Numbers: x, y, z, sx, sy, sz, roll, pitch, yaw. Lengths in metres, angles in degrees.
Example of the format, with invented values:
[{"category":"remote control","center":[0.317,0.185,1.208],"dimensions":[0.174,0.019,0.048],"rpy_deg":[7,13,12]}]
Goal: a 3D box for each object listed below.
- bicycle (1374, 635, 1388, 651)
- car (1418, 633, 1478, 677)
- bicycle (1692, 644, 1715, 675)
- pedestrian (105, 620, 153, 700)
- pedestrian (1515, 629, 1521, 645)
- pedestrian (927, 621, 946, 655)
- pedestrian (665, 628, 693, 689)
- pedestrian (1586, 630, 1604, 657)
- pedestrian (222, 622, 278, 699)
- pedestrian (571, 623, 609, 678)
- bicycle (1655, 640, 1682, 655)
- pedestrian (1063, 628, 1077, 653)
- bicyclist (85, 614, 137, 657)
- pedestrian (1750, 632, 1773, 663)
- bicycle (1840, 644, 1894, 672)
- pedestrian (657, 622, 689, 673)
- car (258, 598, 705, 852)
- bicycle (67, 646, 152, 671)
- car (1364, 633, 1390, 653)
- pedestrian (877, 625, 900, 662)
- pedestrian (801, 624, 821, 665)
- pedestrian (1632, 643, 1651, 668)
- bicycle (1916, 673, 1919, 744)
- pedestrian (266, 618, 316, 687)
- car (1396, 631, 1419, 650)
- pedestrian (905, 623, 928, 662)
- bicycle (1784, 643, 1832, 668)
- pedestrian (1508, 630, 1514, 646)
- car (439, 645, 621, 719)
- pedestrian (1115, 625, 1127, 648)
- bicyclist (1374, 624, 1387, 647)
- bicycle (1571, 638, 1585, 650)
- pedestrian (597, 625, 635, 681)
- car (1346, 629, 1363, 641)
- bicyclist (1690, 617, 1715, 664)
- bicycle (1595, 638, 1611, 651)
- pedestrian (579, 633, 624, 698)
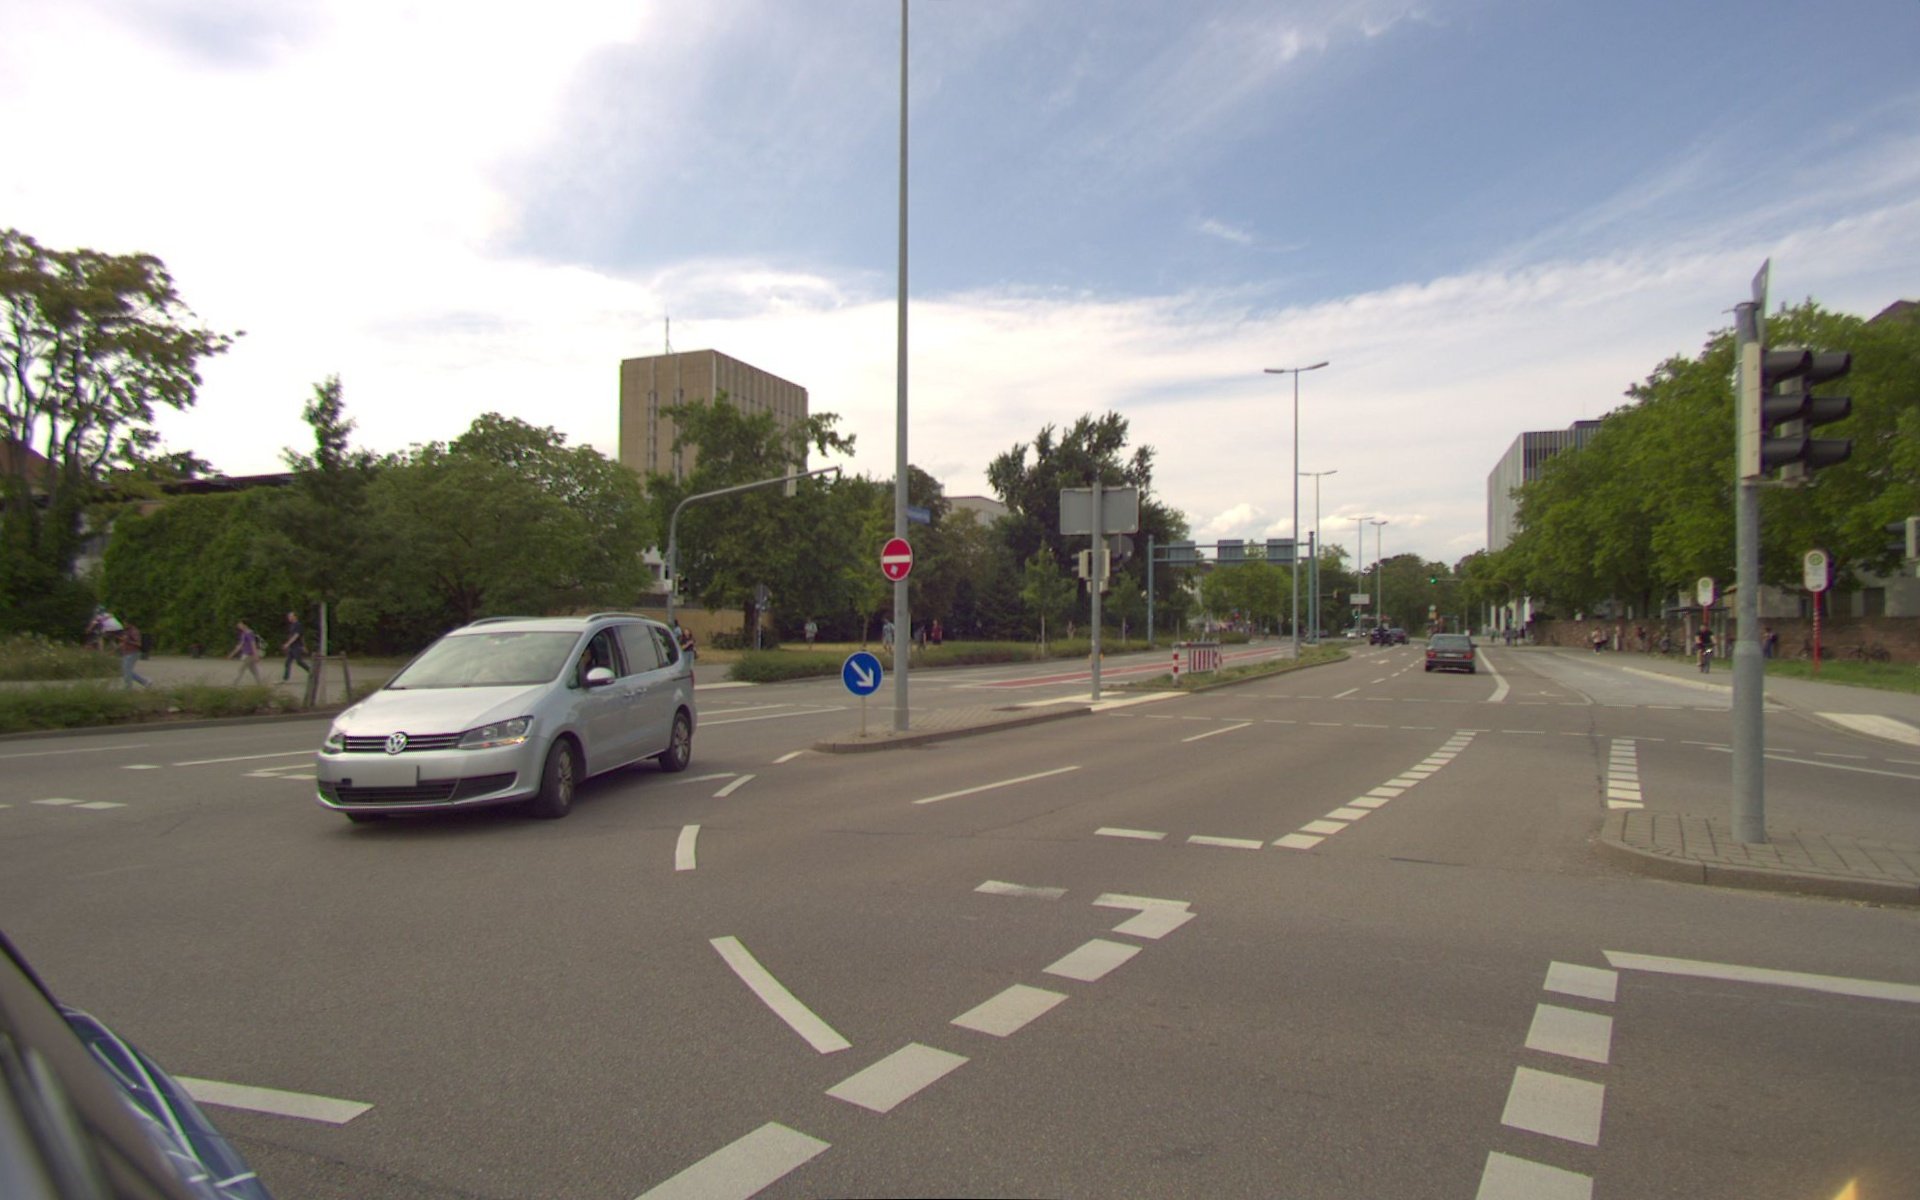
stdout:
[{"category":"bicycle","center":[32.832,3.347,78.911],"dimensions":[0.755,1.198,2.078],"rpy_deg":[1,-2,28]},{"category":"car","center":[18.418,2.038,38.353],"dimensions":[1.689,1.491,4.383],"rpy_deg":[-3,-2,22]},{"category":"bicycle","center":[25.210,2.000,34.300],"dimensions":[0.505,0.943,1.945],"rpy_deg":[-1,0,40]},{"category":"pedestrian","center":[-18.360,1.321,22.374],"dimensions":[0.670,1.724,0.627],"rpy_deg":[-3,-2,30]},{"category":"pedestrian","center":[51.680,3.431,93.701],"dimensions":[0.399,1.468,0.470],"rpy_deg":[-2,-2,21]},{"category":"pedestrian","center":[-1.214,1.964,51.907],"dimensions":[0.711,1.724,0.689],"rpy_deg":[-3,-2,26]},{"category":"pedestrian","center":[-8.074,1.685,29.082],"dimensions":[0.479,1.724,0.581],"rpy_deg":[-3,-3,32]},{"category":"pedestrian","center":[39.805,2.738,63.455],"dimensions":[0.749,1.634,0.661],"rpy_deg":[-3,-2,21]},{"category":"pedestrian","center":[-16.385,1.384,23.359],"dimensions":[0.836,1.724,0.792],"rpy_deg":[-3,-2,30]},{"category":"pedestrian","center":[-11.838,1.616,32.405],"dimensions":[0.831,1.724,0.797],"rpy_deg":[-2,-2,11]},{"category":"bicycle","center":[44.504,3.008,63.587],"dimensions":[0.653,0.894,1.573],"rpy_deg":[-3,-3,6]},{"category":"pedestrian","center":[7.567,2.794,69.715],"dimensions":[0.711,1.724,0.689],"rpy_deg":[-3,-2,26]},{"category":"bicyclist","center":[-25.962,1.092,30.954],"dimensions":[0.837,1.287,1.002],"rpy_deg":[-3,-2,32]},{"category":"pedestrian","center":[42.900,2.544,54.177],"dimensions":[0.561,1.634,0.754],"rpy_deg":[-2,-2,4]},{"category":"bicycle","center":[42.335,2.704,47.273],"dimensions":[0.749,1.198,2.095],"rpy_deg":[2,-2,5]},{"category":"pedestrian","center":[-9.940,1.652,35.095],"dimensions":[0.710,1.724,0.793],"rpy_deg":[-3,-2,23]},{"category":"car","center":[-3.978,0.964,9.422],"dimensions":[1.802,1.747,4.523],"rpy_deg":[-2,-2,4]},{"category":"bicycle","center":[-25.958,1.780,30.918],"dimensions":[0.840,0.699,1.826],"rpy_deg":[-3,-2,30]},{"category":"car","center":[35.571,3.656,86.283],"dimensions":[1.780,1.500,4.093],"rpy_deg":[1,0,26]},{"category":"pedestrian","center":[-3.391,2.058,48.041],"dimensions":[0.837,1.724,0.689],"rpy_deg":[-3,-2,23]},{"category":"pedestrian","center":[-6.216,1.850,42.267],"dimensions":[0.541,1.709,0.689],"rpy_deg":[1,-1,23]},{"category":"pedestrian","center":[45.539,3.721,67.618],"dimensions":[0.742,1.634,0.667],"rpy_deg":[-1,-2,-14]},{"category":"bicycle","center":[13.727,1.422,13.552],"dimensions":[1.938,0.943,0.507],"rpy_deg":[-1,0,-20]},{"category":"pedestrian","center":[-17.083,1.335,25.840],"dimensions":[0.836,1.724,0.792],"rpy_deg":[-3,-2,30]},{"category":"car","center":[40.109,3.619,90.763],"dimensions":[1.778,1.500,4.098],"rpy_deg":[1,0,23]},{"category":"pedestrian","center":[-1.950,1.899,45.493],"dimensions":[0.731,1.724,0.686],"rpy_deg":[-3,-2,30]},{"category":"bicycle","center":[42.755,2.797,51.071],"dimensions":[0.749,1.198,2.095],"rpy_deg":[2,-2,5]},{"category":"pedestrian","center":[50.984,3.470,93.603],"dimensions":[0.399,1.468,0.470],"rpy_deg":[-2,-2,21]},{"category":"car","center":[-9.533,1.787,22.634],"dimensions":[1.667,1.426,3.417],"rpy_deg":[-3,-2,34]},{"category":"pedestrian","center":[12.656,2.857,79.373],"dimensions":[0.711,1.724,0.689],"rpy_deg":[-3,-2,26]},{"category":"bicyclist","center":[32.848,2.783,78.982],"dimensions":[0.775,1.724,1.075],"rpy_deg":[1,-2,29]},{"category":"bicycle","center":[48.270,3.458,79.046],"dimensions":[0.429,0.894,1.568],"rpy_deg":[-4,-3,15]},{"category":"pedestrian","center":[-10.945,1.674,32.181],"dimensions":[0.831,1.724,0.797],"rpy_deg":[-2,-2,11]},{"category":"car","center":[54.139,4.825,138.934],"dimensions":[1.780,1.500,4.093],"rpy_deg":[1,0,26]},{"category":"bicyclist","center":[25.149,1.366,34.271],"dimensions":[0.579,1.567,0.787],"rpy_deg":[-1,0,40]},{"category":"bicycle","center":[46.704,3.218,73.531],"dimensions":[0.429,0.894,1.568],"rpy_deg":[-4,-3,15]},{"category":"pedestrian","center":[-9.757,1.766,27.563],"dimensions":[0.797,1.724,0.830],"rpy_deg":[-3,-3,32]}]
